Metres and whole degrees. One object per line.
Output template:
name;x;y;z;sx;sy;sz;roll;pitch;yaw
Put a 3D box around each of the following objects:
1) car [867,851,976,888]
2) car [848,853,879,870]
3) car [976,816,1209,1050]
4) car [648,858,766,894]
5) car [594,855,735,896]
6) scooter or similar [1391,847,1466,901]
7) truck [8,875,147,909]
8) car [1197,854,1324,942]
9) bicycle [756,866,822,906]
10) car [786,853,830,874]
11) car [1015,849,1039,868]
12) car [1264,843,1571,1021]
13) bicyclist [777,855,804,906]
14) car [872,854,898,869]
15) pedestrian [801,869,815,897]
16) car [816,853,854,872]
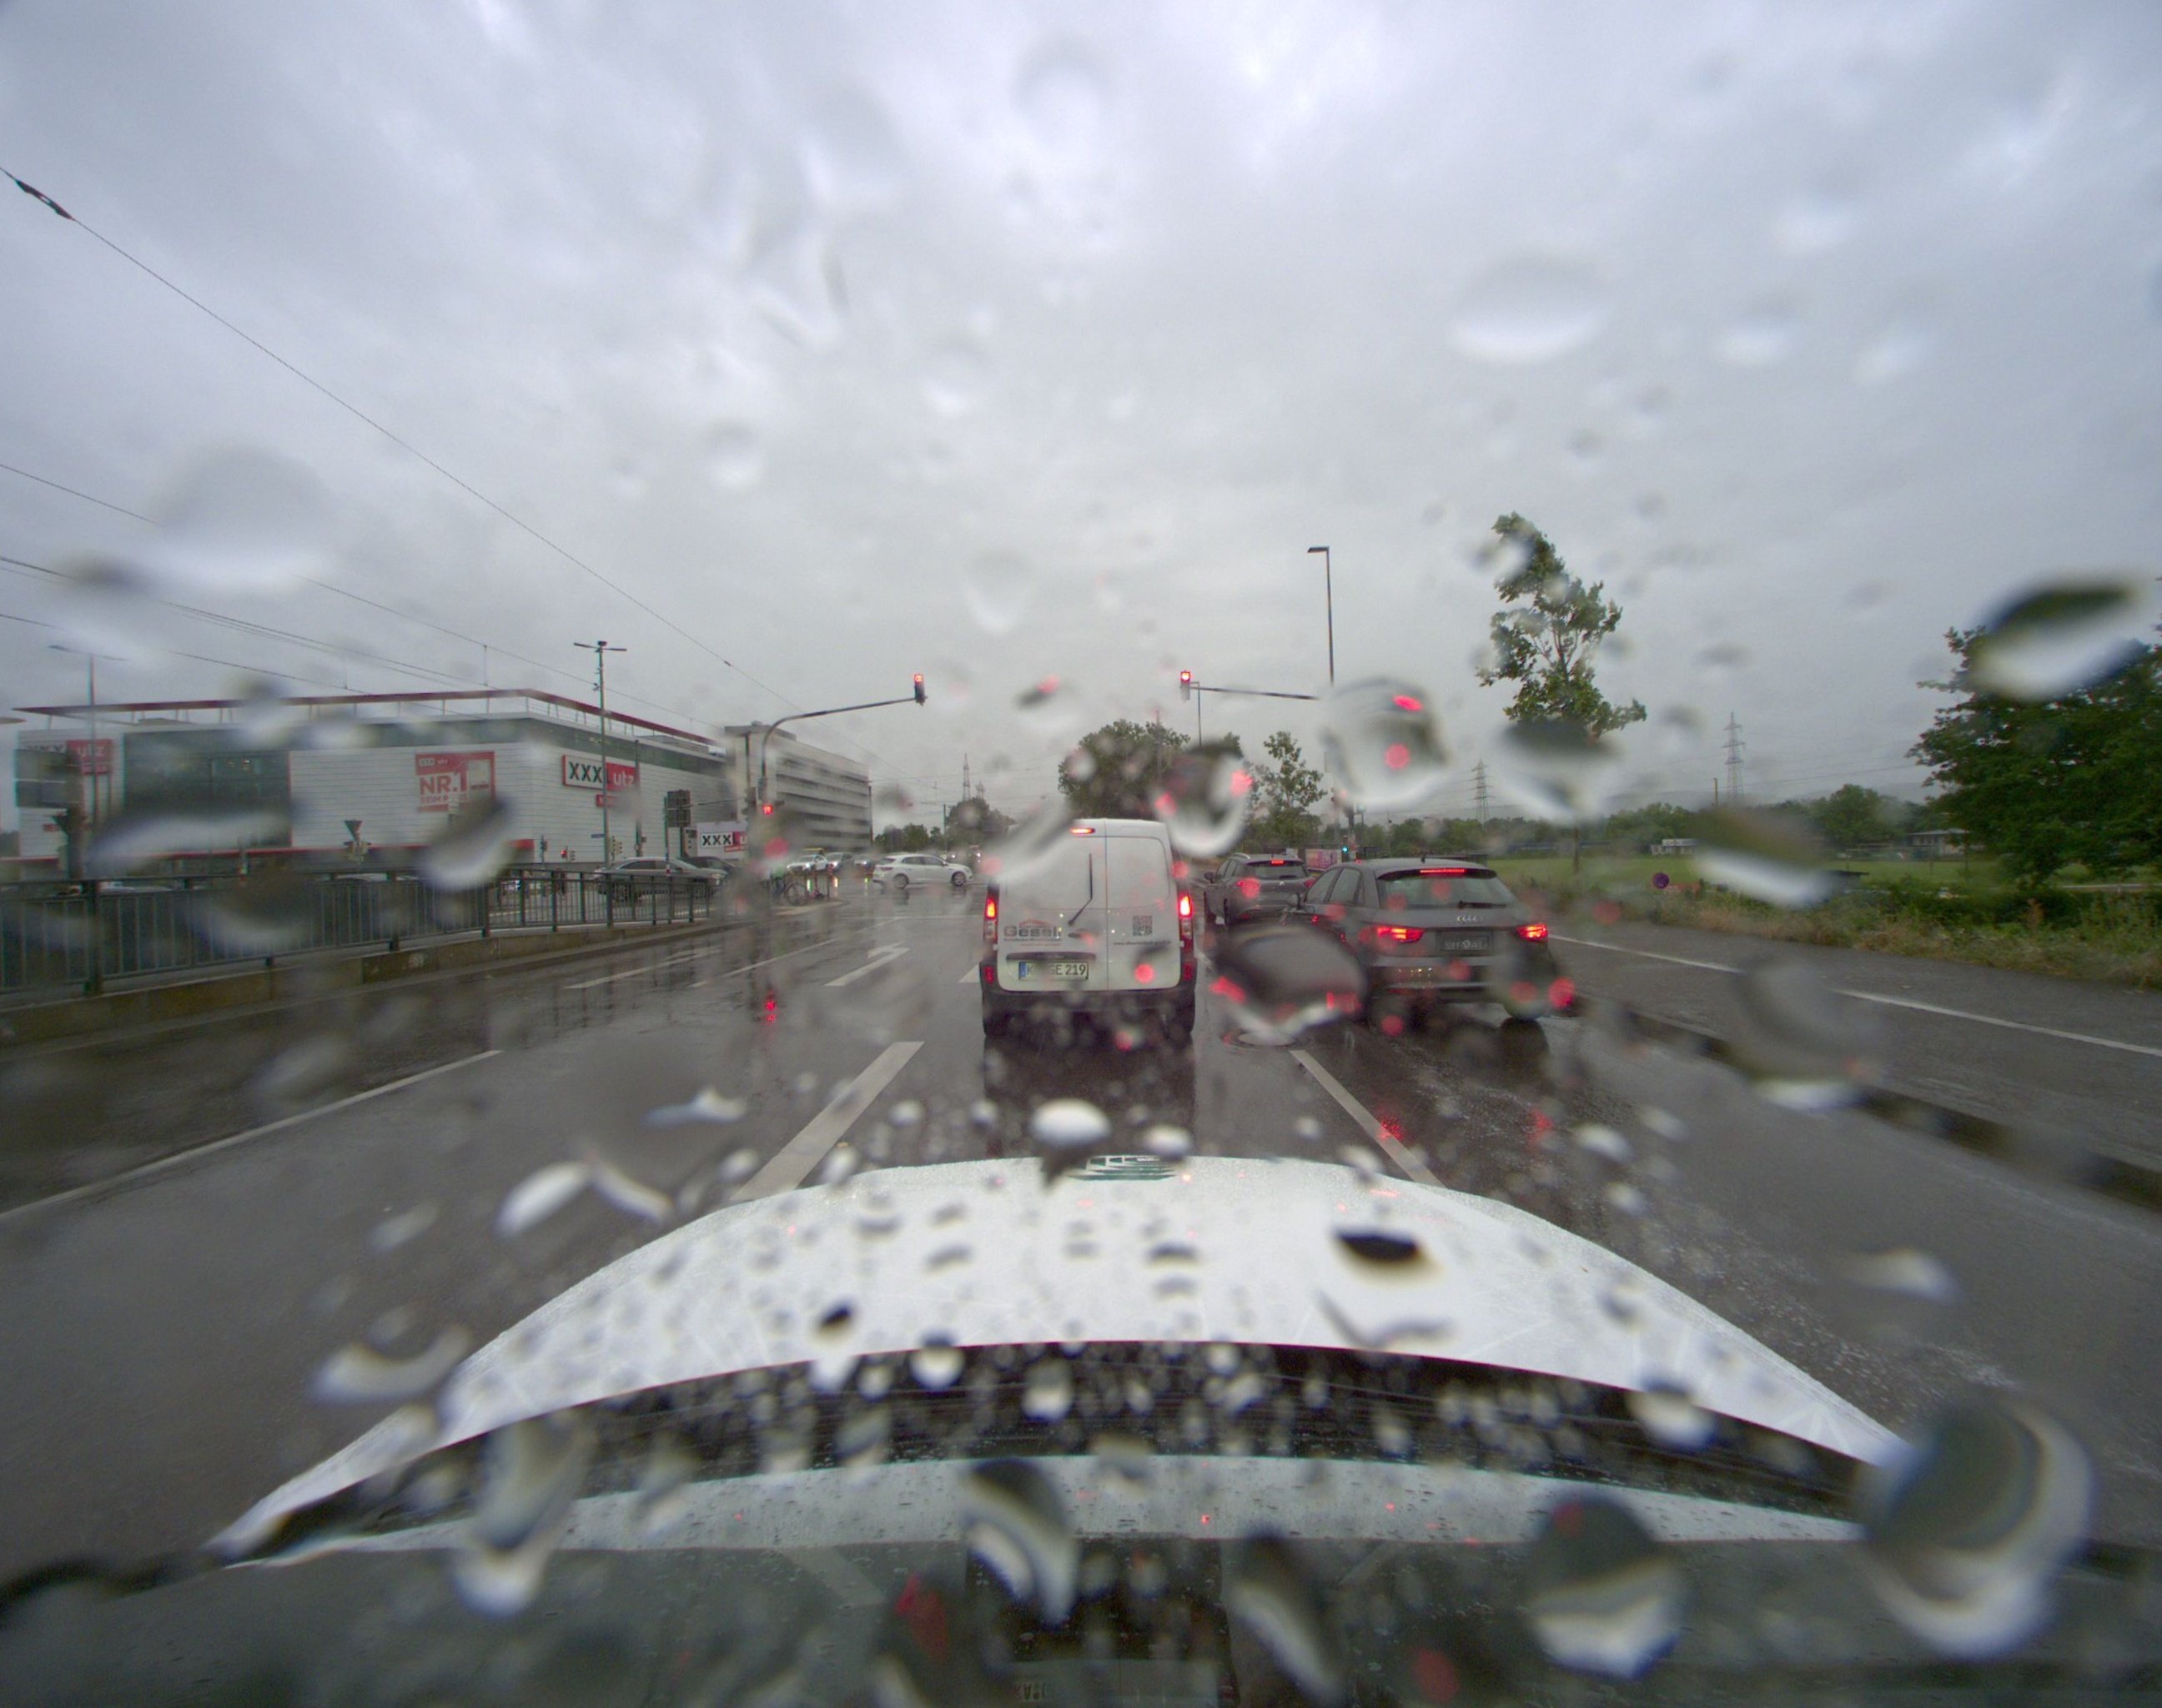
car;-6.959;0.692;35.641;4.288;1.502;1.803;1;-1;-32
car;-19.029;0.635;71.347;1.554;1.426;3.570;1;-1;2
car;0.036;0.567;8.257;1.749;1.750;4.166;-1;1;-2
car;-16.636;0.987;36.444;4.500;1.502;1.706;1;-1;-14
car;-15.895;0.834;31.305;4.503;1.502;1.705;1;-1;-15
scooter or similar;8.537;0.456;20.156;0.687;1.211;3.022;-2;0;3
truck;-61.190;2.282;49.725;5.859;1.942;2.012;1;-1;0
car;3.359;0.751;15.931;1.678;1.508;3.921;0;0;1
bicycle;-8.671;0.938;24.237;1.768;1.137;0.514;0;0;-41
car;-19.415;0.691;58.137;1.704;1.426;3.810;1;-1;2
car;-4.951;0.422;74.822;1.942;1.662;4.461;1;-1;-1
car;3.100;0.662;8.339;1.592;1.366;3.629;-2;-1;0
bicyclist;-8.653;0.778;24.271;0.608;1.491;0.593;0;-1;-39
car;-18.855;0.713;78.428;1.554;1.426;3.570;1;-1;2
pedestrian;-8.812;0.934;26.267;0.314;0.897;0.380;1;0;-1
car;-19.316;0.643;64.113;1.704;1.426;3.810;1;-1;2
